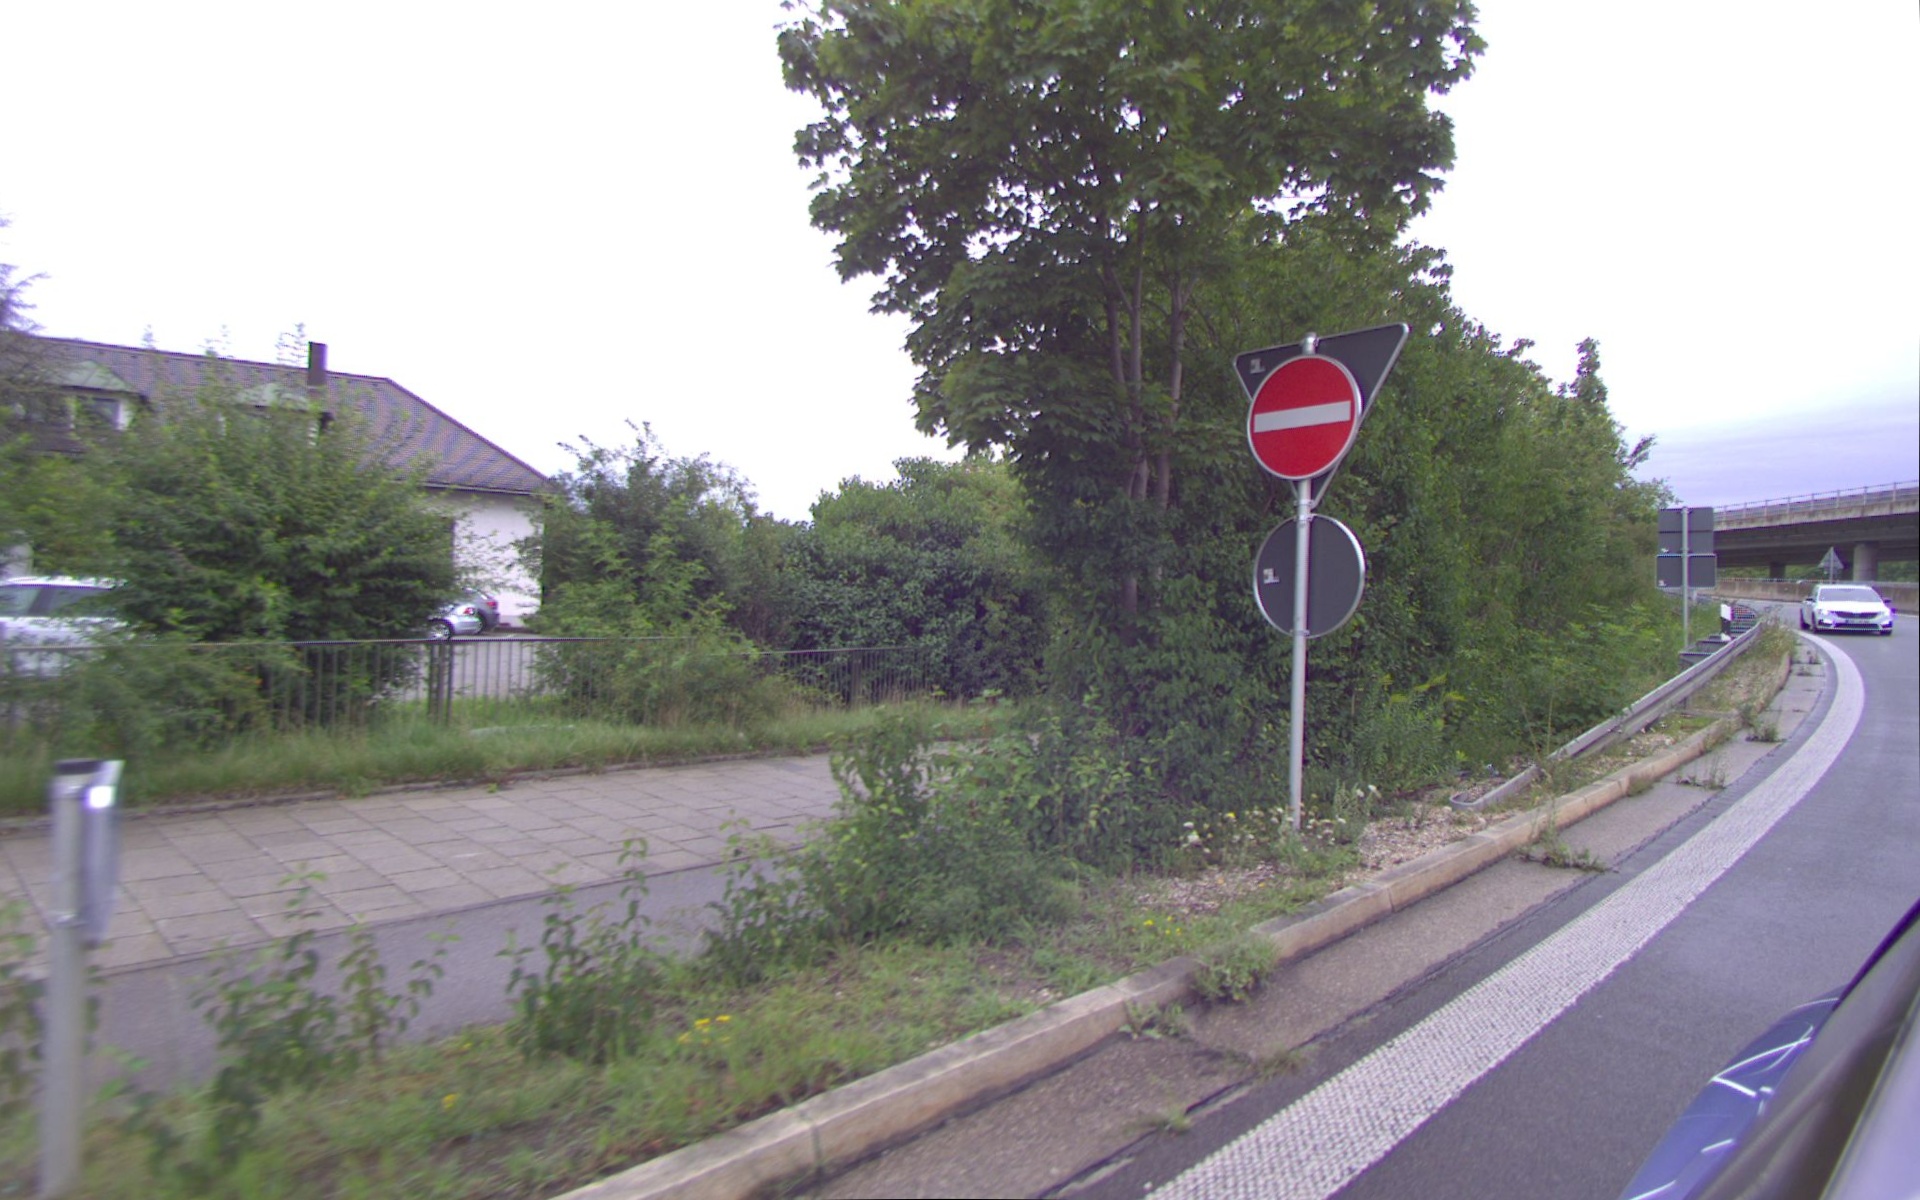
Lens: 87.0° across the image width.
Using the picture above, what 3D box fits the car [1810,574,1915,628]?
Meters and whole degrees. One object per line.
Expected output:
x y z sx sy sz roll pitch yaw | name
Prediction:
27.175 -0.020 30.596 1.905 1.465 4.498 1 2 36 | car

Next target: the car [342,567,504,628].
-16.313 -0.070 30.968 4.162 1.479 1.883 5 -1 -26 | car

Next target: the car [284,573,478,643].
-14.974 0.215 26.345 4.164 1.479 1.882 5 -1 -30 | car

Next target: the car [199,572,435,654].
-14.038 0.299 22.420 4.163 1.440 1.882 5 -1 -28 | car

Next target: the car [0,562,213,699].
-12.377 0.306 12.993 4.164 1.549 1.882 6 -1 -30 | car
